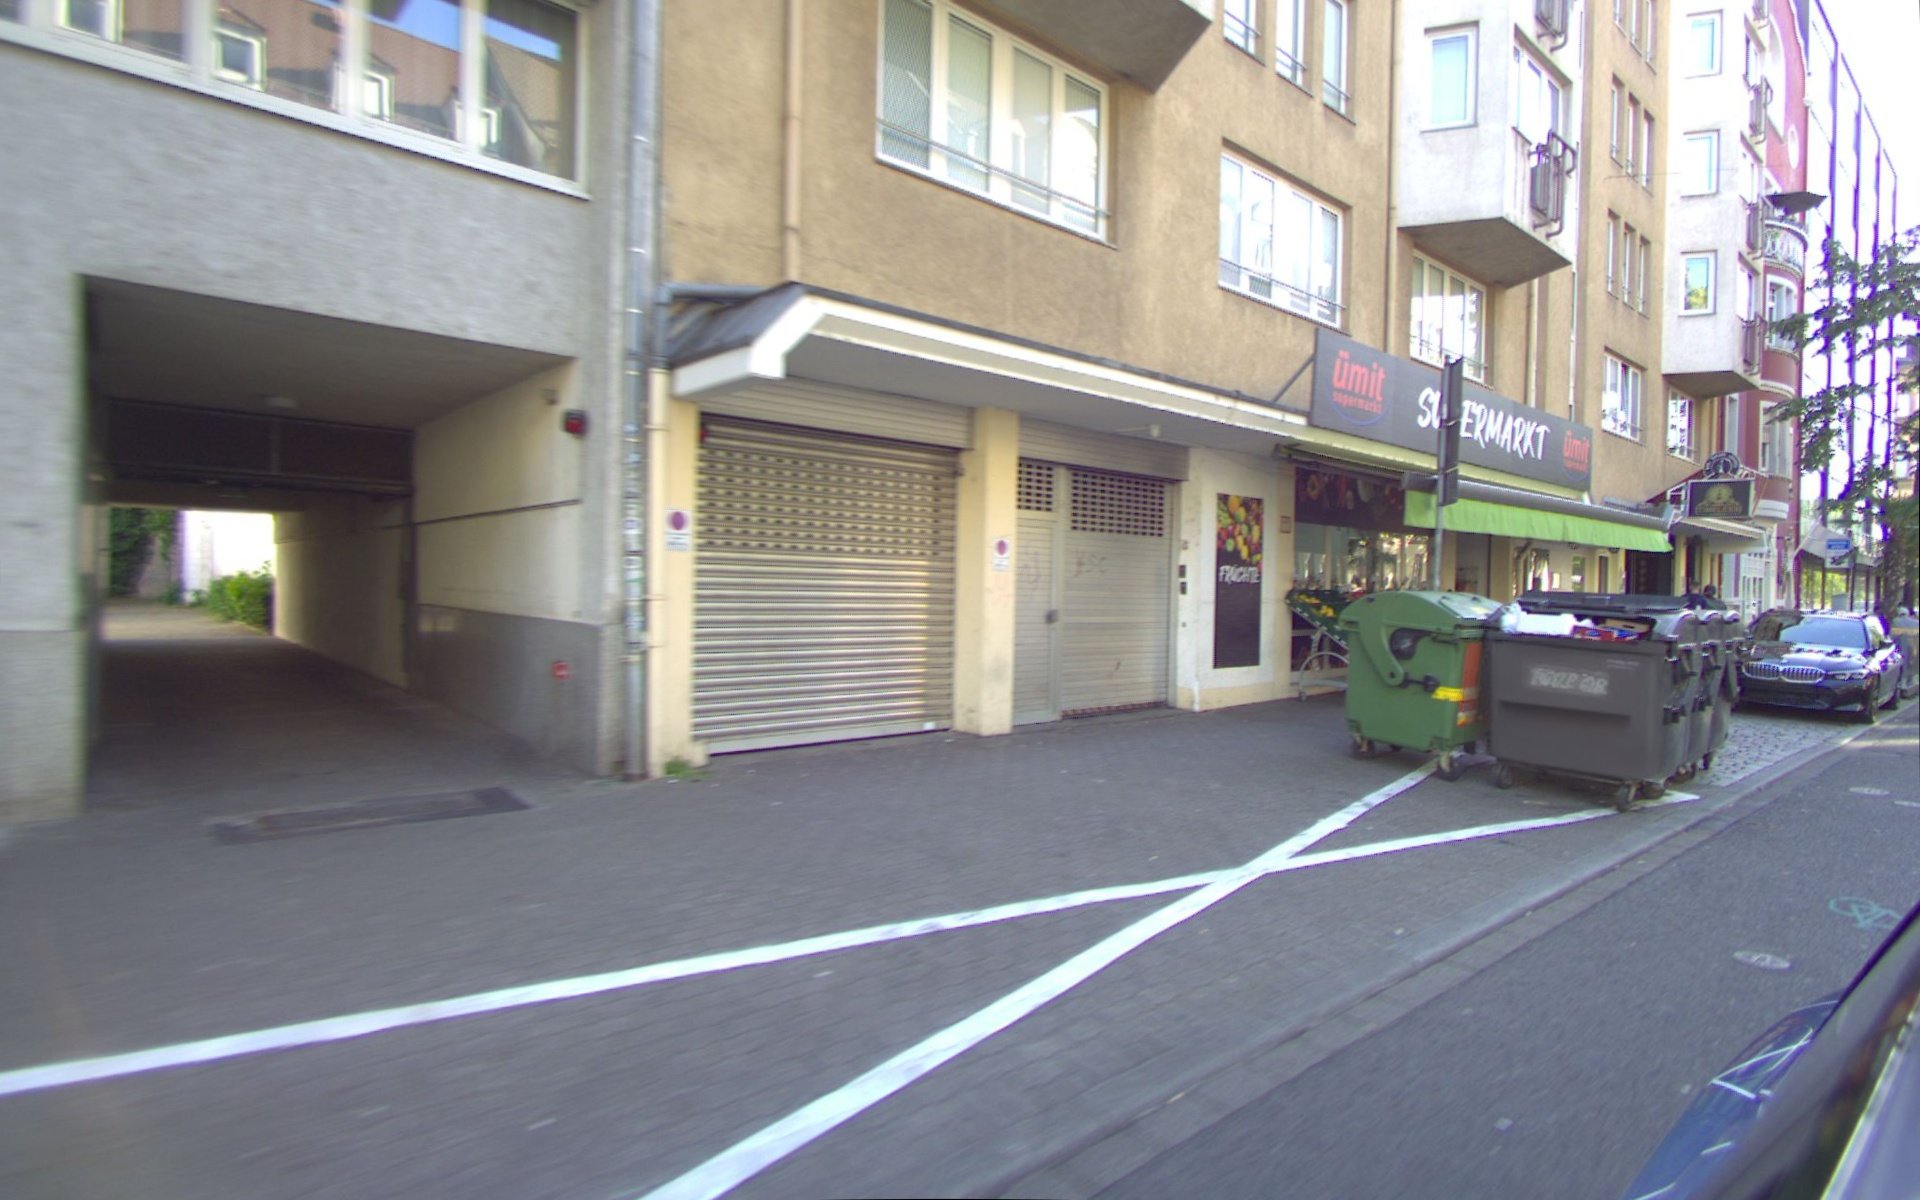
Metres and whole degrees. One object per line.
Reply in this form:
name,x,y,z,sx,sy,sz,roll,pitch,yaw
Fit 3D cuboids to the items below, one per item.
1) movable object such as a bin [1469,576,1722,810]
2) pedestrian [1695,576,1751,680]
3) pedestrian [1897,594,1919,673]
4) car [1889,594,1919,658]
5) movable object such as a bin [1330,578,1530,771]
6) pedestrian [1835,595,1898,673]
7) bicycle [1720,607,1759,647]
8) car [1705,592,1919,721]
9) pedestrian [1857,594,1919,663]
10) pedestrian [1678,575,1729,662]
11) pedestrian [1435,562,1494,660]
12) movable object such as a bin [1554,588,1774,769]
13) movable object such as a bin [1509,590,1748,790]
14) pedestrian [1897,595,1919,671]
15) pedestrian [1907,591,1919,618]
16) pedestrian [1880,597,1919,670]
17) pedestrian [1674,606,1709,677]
movable object such as a bin,4.823,0.621,7.712,1.126,1.562,1.333,1,1,-41
pedestrian,13.067,0.463,17.334,0.749,1.717,0.617,0,1,-43
pedestrian,19.378,0.667,20.377,0.963,1.555,0.651,0,1,-43
car,26.986,0.724,27.619,4.757,1.615,1.826,0,4,-41
movable object such as a bin,3.954,0.559,8.517,1.272,1.449,1.079,1,1,-41
pedestrian,18.850,0.696,21.045,0.753,1.555,0.715,1,1,-26
bicycle,20.508,0.691,26.617,1.671,1.014,0.475,0,1,-42
car,12.757,0.700,14.894,4.826,1.489,1.826,0,4,-41
pedestrian,21.946,0.652,23.824,0.875,1.555,1.059,0,1,-37
pedestrian,14.998,0.367,20.414,0.620,1.717,0.502,1,1,10
pedestrian,8.783,0.178,17.645,0.607,1.662,0.762,1,1,0
movable object such as a bin,6.461,0.645,9.316,1.126,1.472,1.402,1,1,-41
movable object such as a bin,5.621,0.677,8.539,1.126,1.472,1.402,1,1,-41
pedestrian,20.337,0.698,21.219,0.791,1.555,0.753,1,1,-26
pedestrian,59.891,0.281,63.336,0.701,1.713,0.621,0,1,-14
pedestrian,20.849,0.726,22.314,0.762,1.555,0.694,0,1,-40
pedestrian,12.564,0.703,17.382,0.442,1.177,0.494,2,1,39
